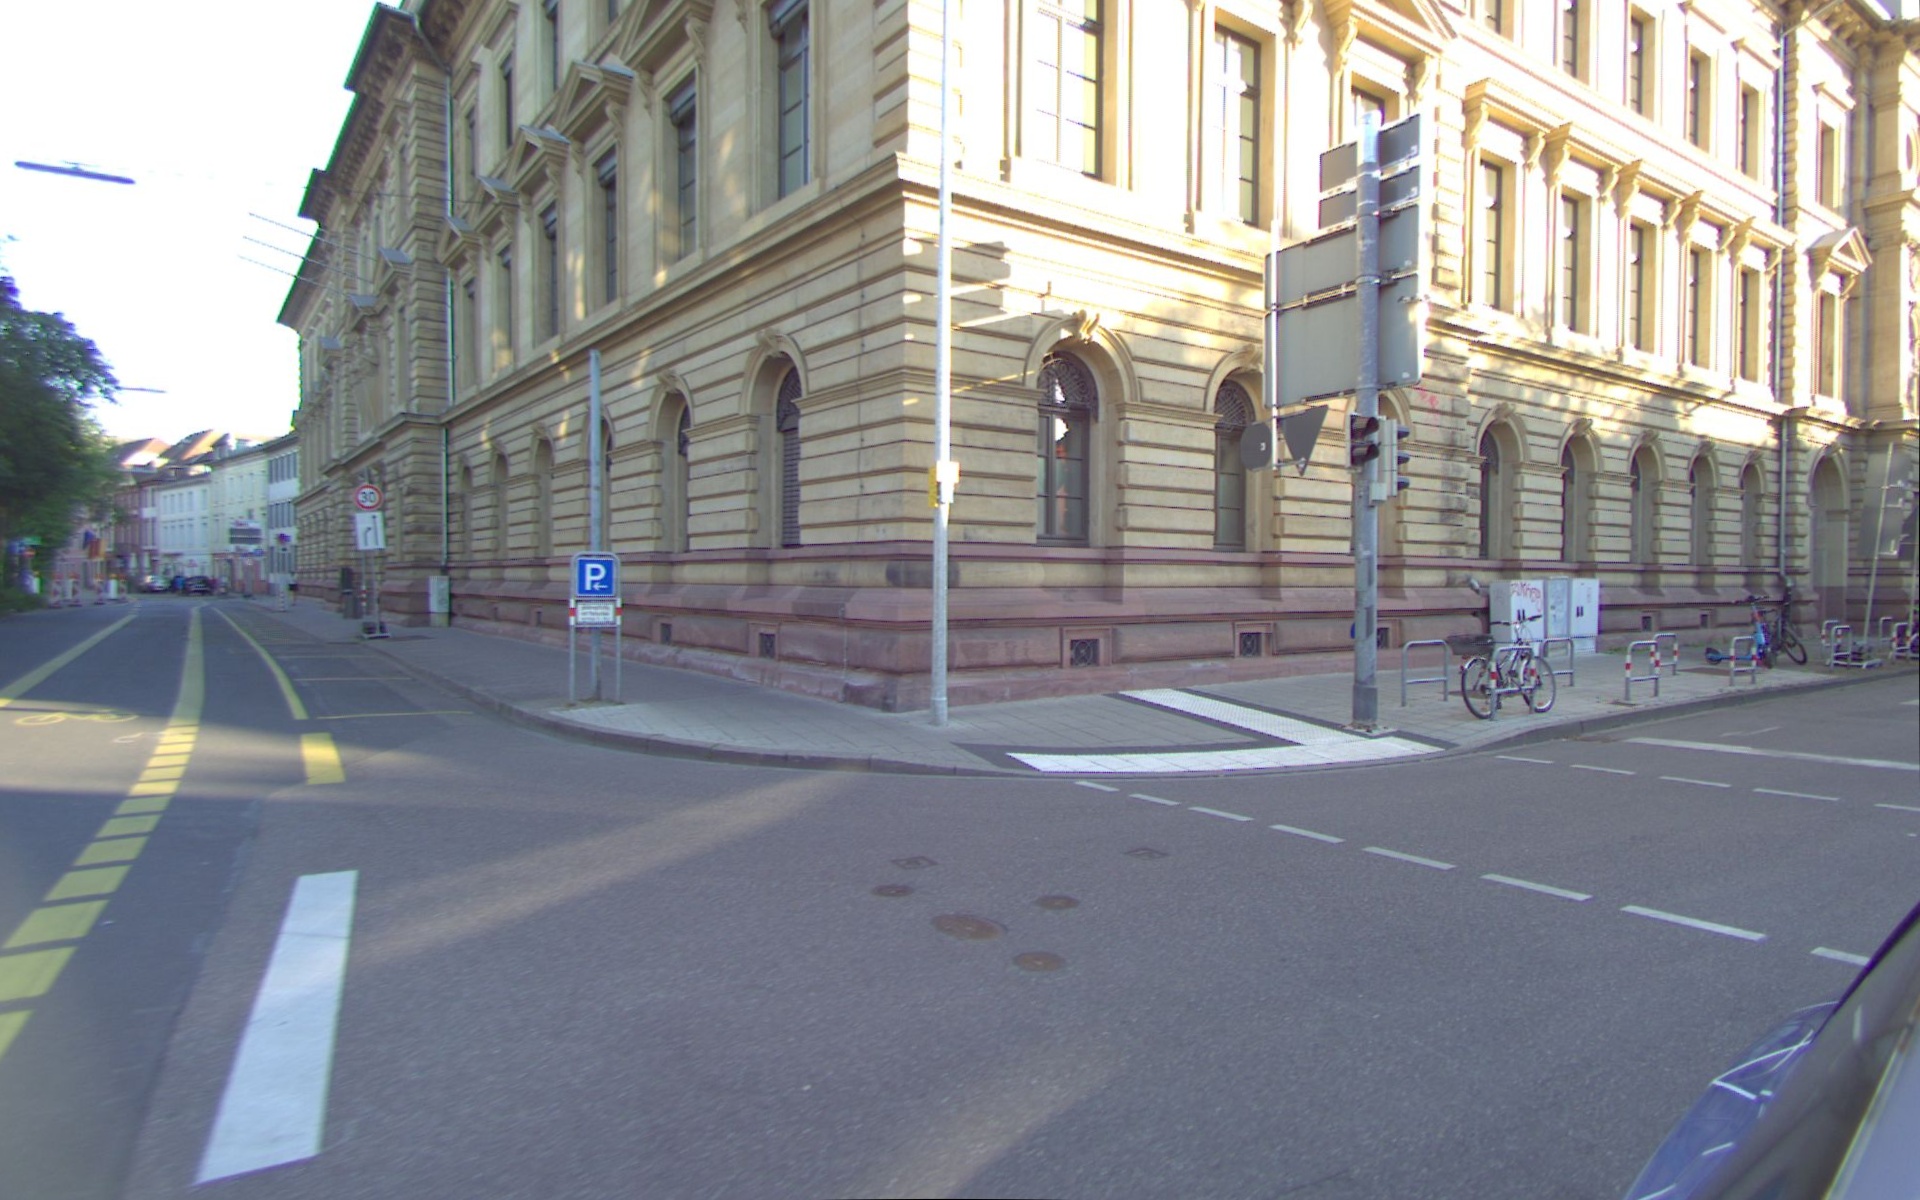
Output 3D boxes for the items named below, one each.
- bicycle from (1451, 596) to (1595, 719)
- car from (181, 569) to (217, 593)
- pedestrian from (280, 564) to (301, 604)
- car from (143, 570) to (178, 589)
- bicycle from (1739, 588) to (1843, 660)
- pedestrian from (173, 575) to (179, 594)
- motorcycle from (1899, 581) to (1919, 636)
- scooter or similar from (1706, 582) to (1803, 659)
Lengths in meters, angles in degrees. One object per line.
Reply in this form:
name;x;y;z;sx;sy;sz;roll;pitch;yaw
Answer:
bicycle;6.284;0.595;11.258;1.883;1.203;0.584;-3;2;-33
car;-61.030;-1.550;81.137;3.813;1.871;1.691;2;2;44
pedestrian;-32.273;-0.767;48.760;0.761;1.876;0.811;0;1;-38
car;-70.602;-1.838;89.312;3.808;1.679;1.693;1;2;40
bicycle;14.704;0.395;17.897;1.906;1.148;0.831;-1;4;-33
pedestrian;-61.768;-1.198;79.745;0.329;1.510;0.359;1;1;43
motorcycle;22.012;0.244;22.209;0.696;1.229;2.107;1;3;-4
scooter or similar;13.483;0.332;17.199;0.571;1.209;1.137;0;3;-15
